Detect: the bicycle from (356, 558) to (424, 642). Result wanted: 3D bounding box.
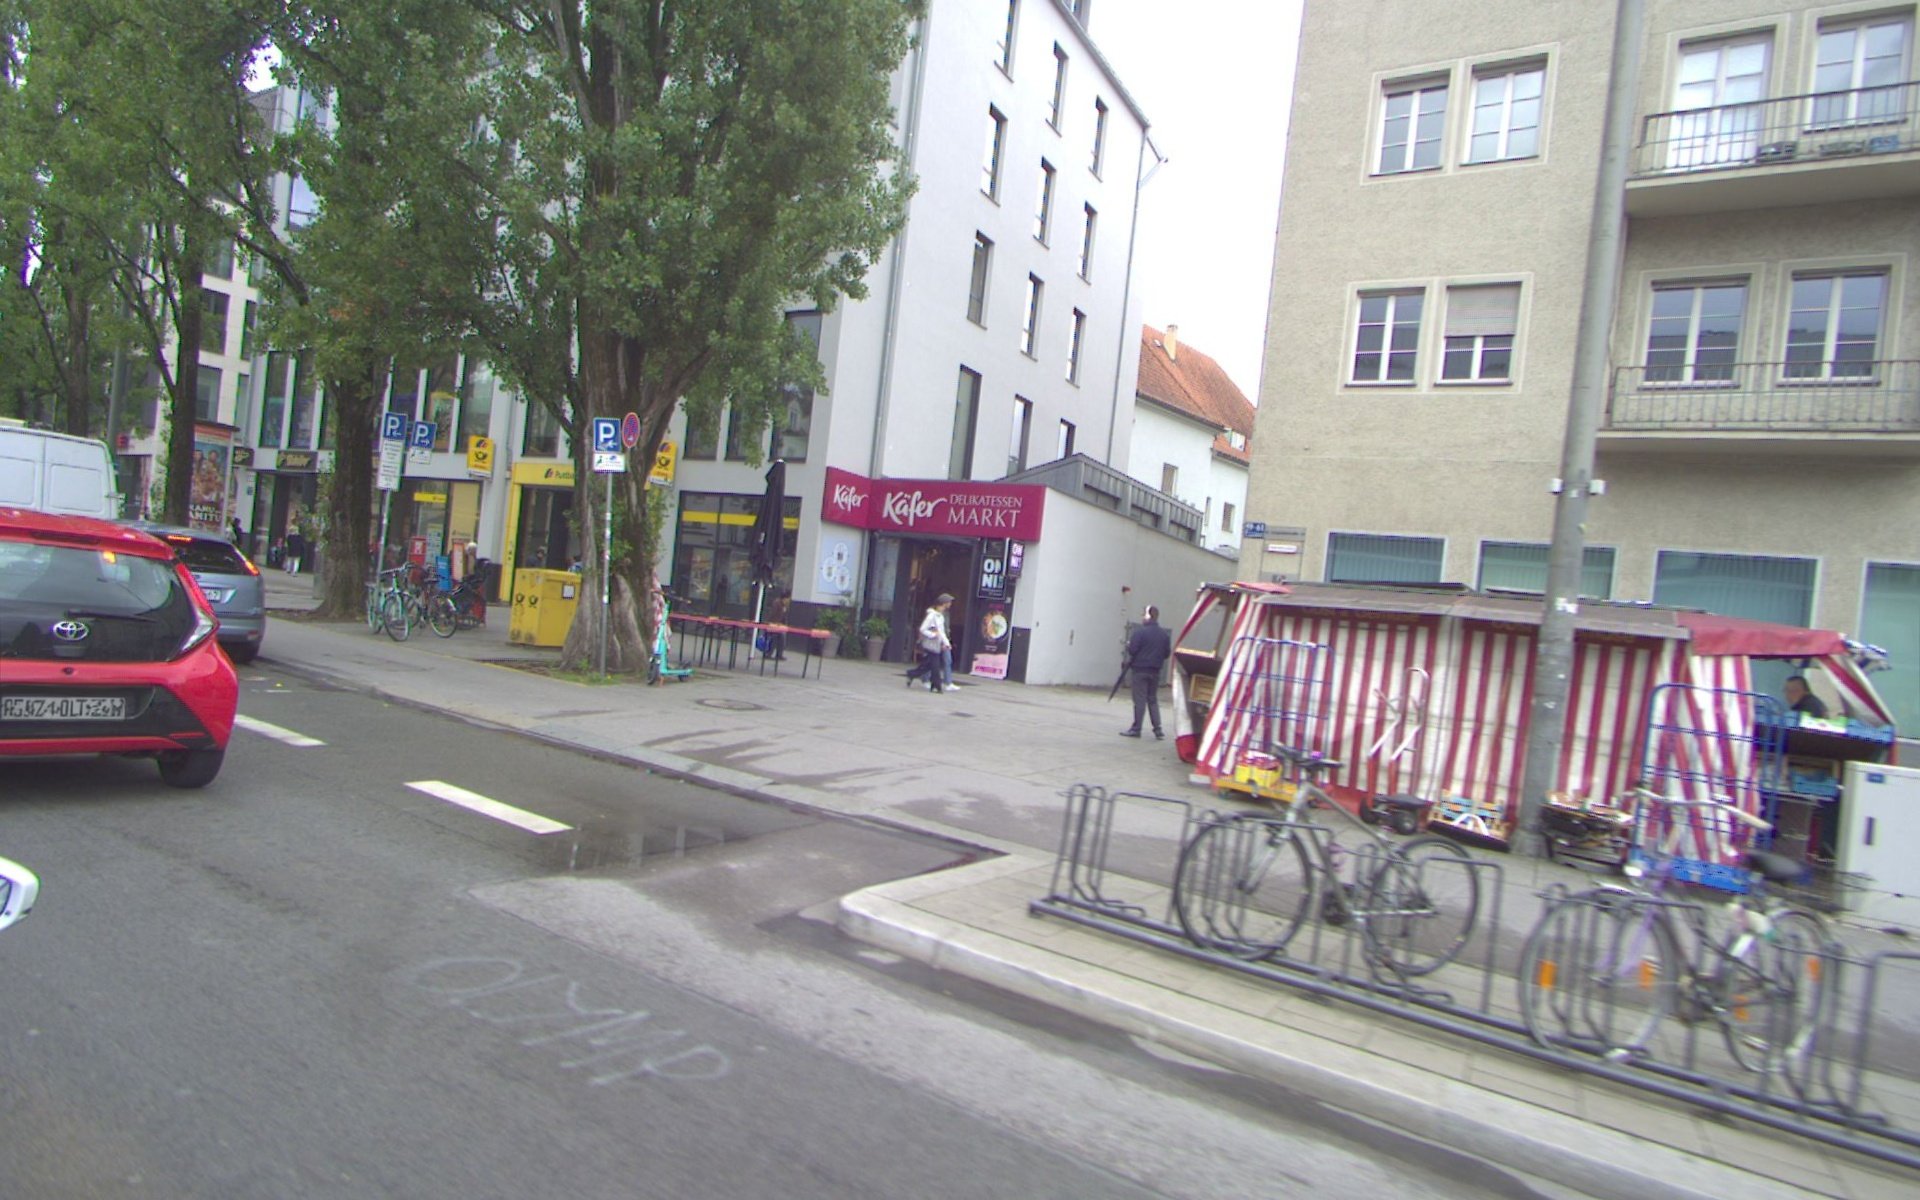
[{"bbox_3d":[-9.152,-0.027,16.114,0.476,1.174,1.803,6,0,-42],"label":"bicycle"}]

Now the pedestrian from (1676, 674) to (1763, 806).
[{"bbox_3d":[10.407,1.892,13.808,0.752,1.671,0.601,7,1,33],"label":"pedestrian"}]

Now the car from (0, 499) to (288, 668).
[{"bbox_3d":[-9.784,-0.241,11.791,4.083,1.470,1.727,6,-2,36],"label":"car"}]

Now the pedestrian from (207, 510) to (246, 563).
[{"bbox_3d":[-23.415,-2.017,32.131,0.738,1.578,0.682,7,1,33],"label":"pedestrian"}]

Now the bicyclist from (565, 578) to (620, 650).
[{"bbox_3d":[-6.508,0.252,17.830,0.631,1.211,0.538,7,1,32],"label":"bicyclist"}]

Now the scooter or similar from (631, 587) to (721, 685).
[{"bbox_3d":[-3.821,0.476,13.637,0.393,1.223,1.469,6,1,14],"label":"scooter or similar"}]

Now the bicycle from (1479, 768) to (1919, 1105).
[{"bbox_3d":[3.024,1.349,4.012,1.779,1.066,0.544,11,-2,-21],"label":"bicycle"}]

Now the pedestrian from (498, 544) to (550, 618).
[{"bbox_3d":[-10.551,-0.457,24.359,0.785,1.670,0.691,7,1,31],"label":"pedestrian"}]

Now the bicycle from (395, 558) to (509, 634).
[{"bbox_3d":[-9.272,-0.065,18.388,0.696,1.174,1.624,7,0,44],"label":"bicycle"}]

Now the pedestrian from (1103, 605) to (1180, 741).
[{"bbox_3d":[2.537,1.006,14.064,0.708,1.793,0.608,7,2,31],"label":"pedestrian"}]

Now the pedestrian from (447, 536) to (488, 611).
[{"bbox_3d":[-12.017,-0.643,24.566,0.711,1.747,0.736,5,1,-21],"label":"pedestrian"}]

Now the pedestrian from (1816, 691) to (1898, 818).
[{"bbox_3d":[12.391,2.118,13.913,0.598,1.623,0.465,7,1,28],"label":"pedestrian"}]

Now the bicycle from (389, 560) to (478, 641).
[{"bbox_3d":[-8.913,0.001,17.009,1.606,1.174,0.478,7,0,32],"label":"bicycle"}]

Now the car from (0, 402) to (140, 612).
[{"bbox_3d":[-15.340,-1.513,15.842,5.465,2.774,1.996,6,-1,33],"label":"car"}]

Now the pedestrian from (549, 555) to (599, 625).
[{"bbox_3d":[-9.519,-0.246,24.799,0.760,1.605,0.691,7,1,31],"label":"pedestrian"}]

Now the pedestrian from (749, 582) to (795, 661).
[{"bbox_3d":[-3.797,0.433,20.313,0.640,1.494,0.756,7,-1,-20],"label":"pedestrian"}]

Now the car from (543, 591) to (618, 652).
[{"bbox_3d":[-6.814,0.379,18.044,1.472,0.916,0.367,7,1,32],"label":"car"}]

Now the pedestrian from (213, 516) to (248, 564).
[{"bbox_3d":[-25.763,-2.112,35.537,0.664,1.596,0.565,6,1,9],"label":"pedestrian"}]

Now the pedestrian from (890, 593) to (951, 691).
[{"bbox_3d":[-0.681,0.729,17.372,0.625,1.604,0.641,7,2,39],"label":"pedestrian"}]

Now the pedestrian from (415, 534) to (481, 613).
[{"bbox_3d":[-11.640,-0.596,22.875,1.006,1.657,0.800,7,1,30],"label":"pedestrian"}]

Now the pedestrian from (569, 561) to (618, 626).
[{"bbox_3d":[-9.278,-0.149,25.486,0.697,1.555,0.765,6,1,28],"label":"pedestrian"}]

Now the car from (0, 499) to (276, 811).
[{"bbox_3d":[-5.848,0.142,5.873,3.537,1.463,1.668,6,-2,32],"label":"car"}]

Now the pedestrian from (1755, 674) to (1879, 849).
[{"bbox_3d":[9.078,1.674,10.694,0.717,1.695,0.794,7,1,31],"label":"pedestrian"}]

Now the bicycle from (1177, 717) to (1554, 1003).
[{"bbox_3d":[1.893,1.210,4.680,1.556,1.066,0.544,11,-2,-21],"label":"bicycle"}]

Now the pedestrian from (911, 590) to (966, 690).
[{"bbox_3d":[-0.382,0.719,18.010,0.588,1.723,0.578,7,2,39],"label":"pedestrian"}]
